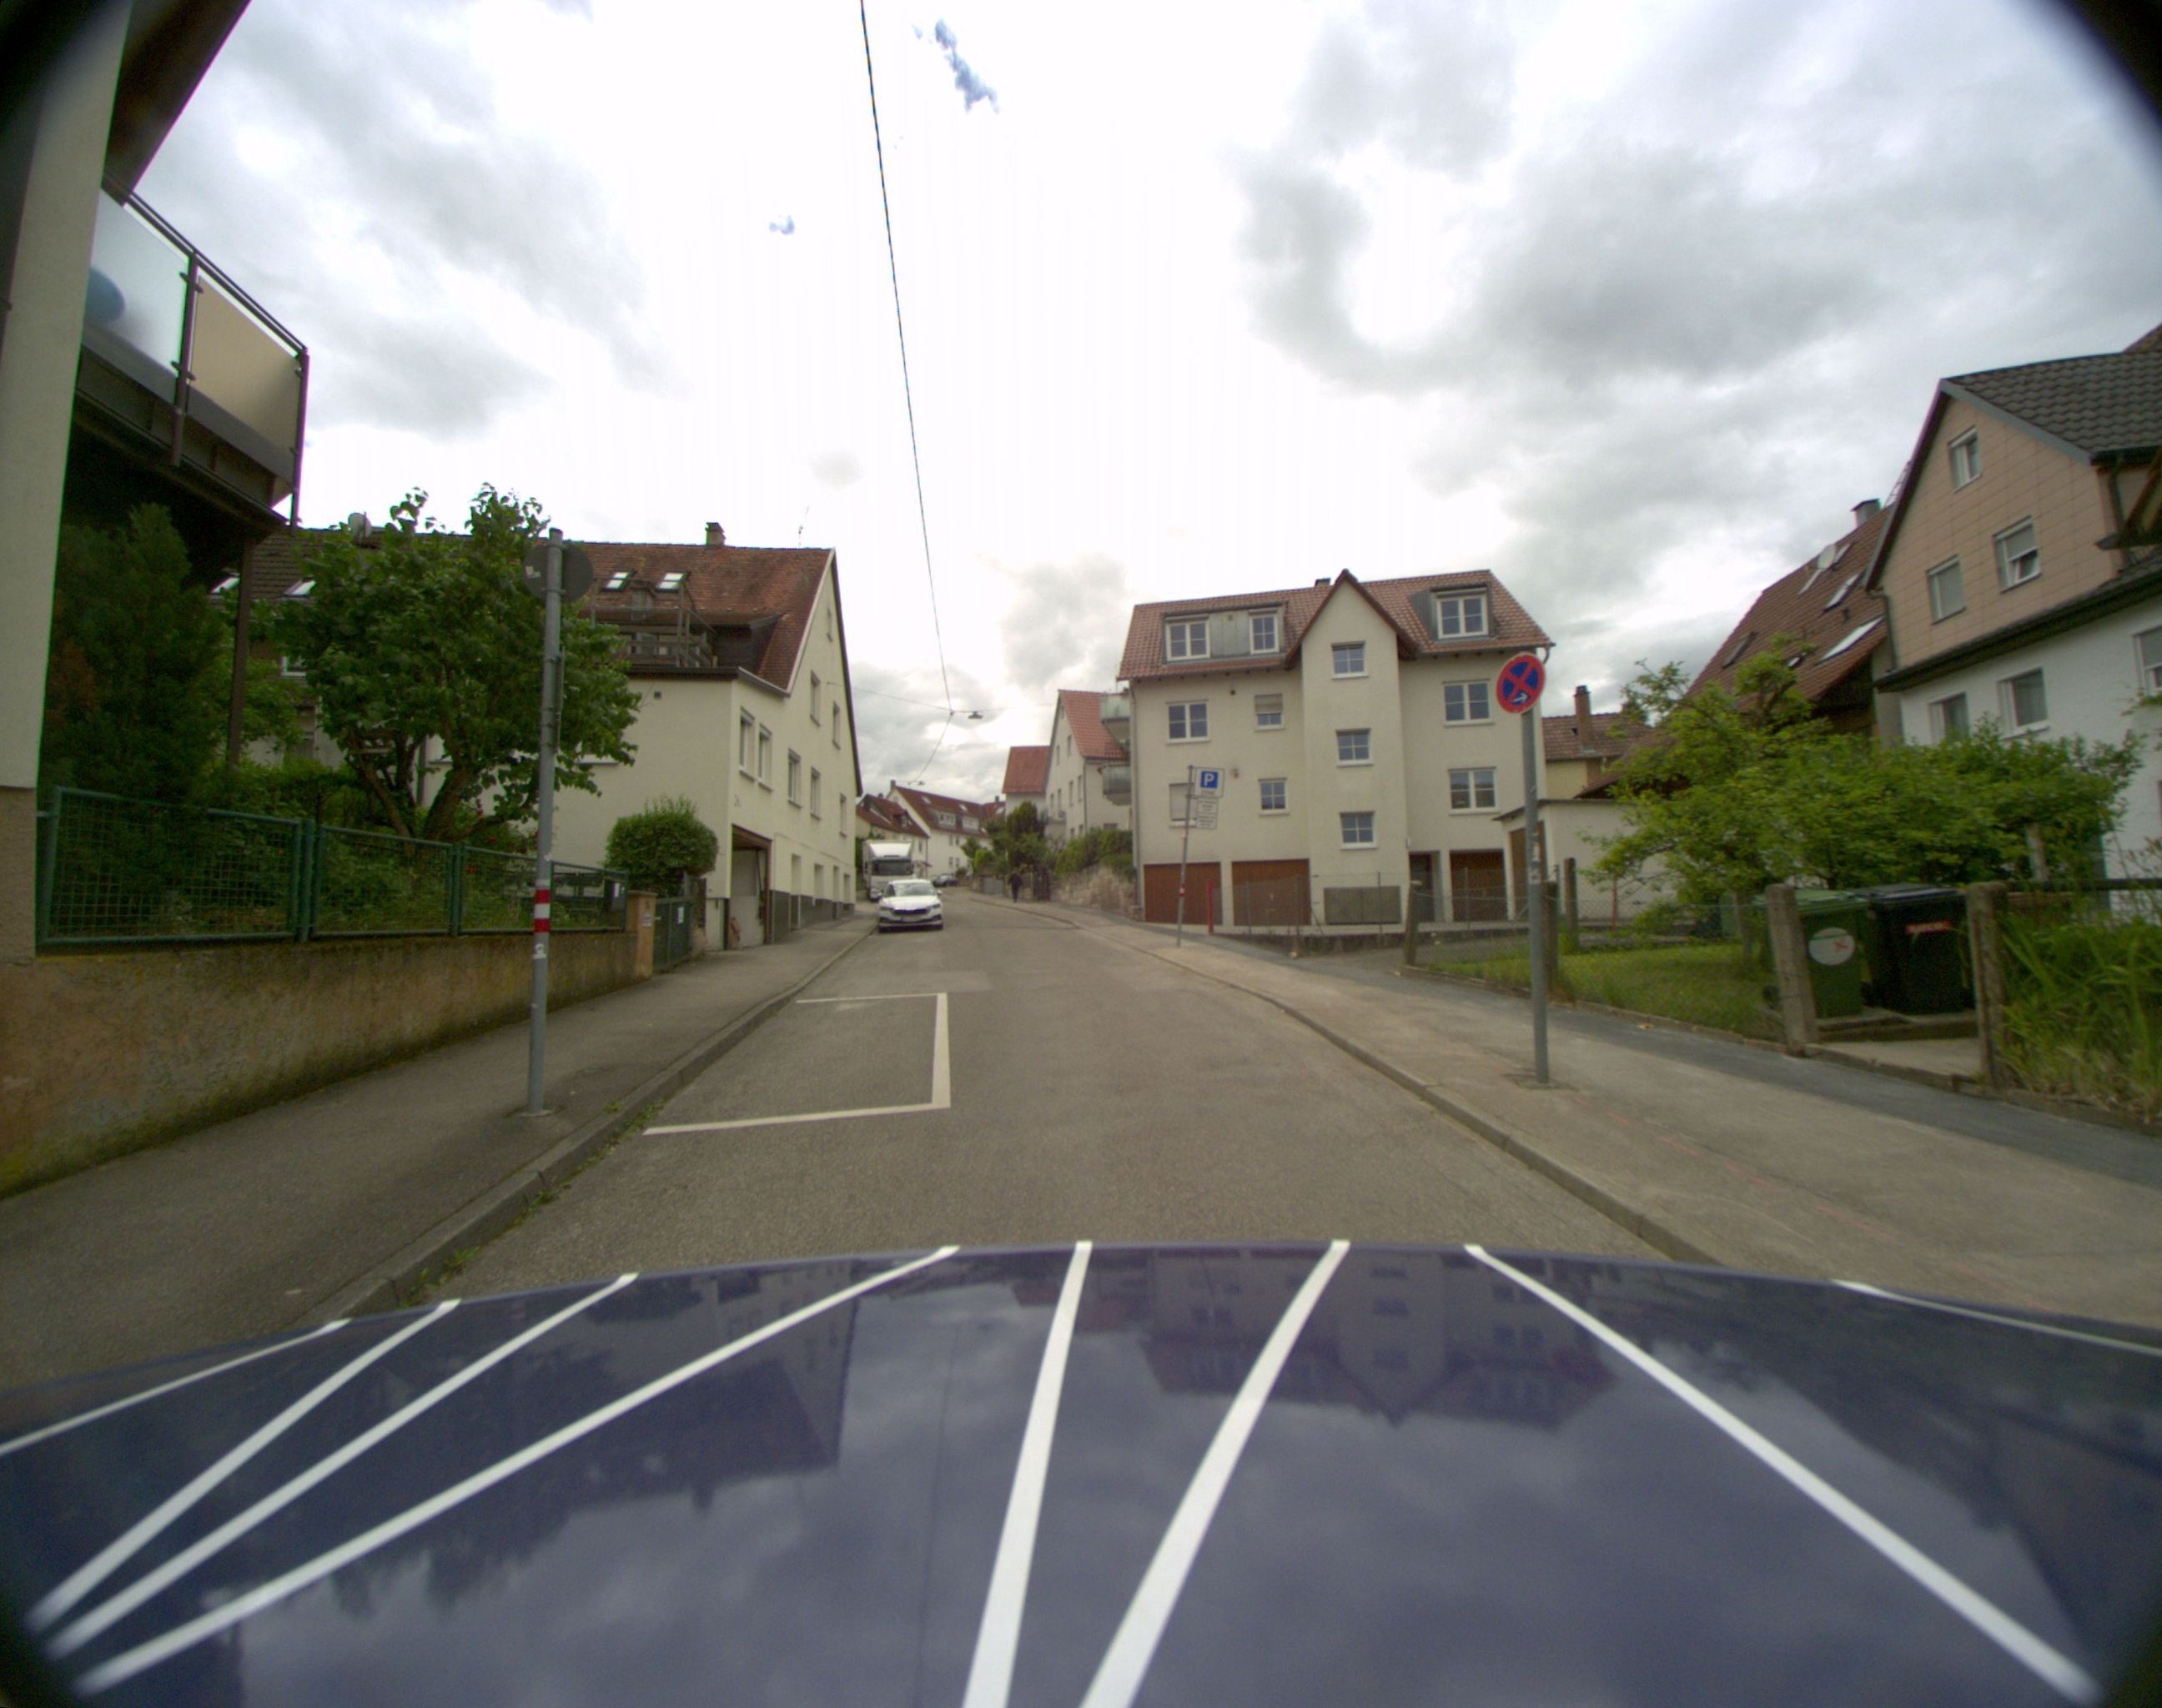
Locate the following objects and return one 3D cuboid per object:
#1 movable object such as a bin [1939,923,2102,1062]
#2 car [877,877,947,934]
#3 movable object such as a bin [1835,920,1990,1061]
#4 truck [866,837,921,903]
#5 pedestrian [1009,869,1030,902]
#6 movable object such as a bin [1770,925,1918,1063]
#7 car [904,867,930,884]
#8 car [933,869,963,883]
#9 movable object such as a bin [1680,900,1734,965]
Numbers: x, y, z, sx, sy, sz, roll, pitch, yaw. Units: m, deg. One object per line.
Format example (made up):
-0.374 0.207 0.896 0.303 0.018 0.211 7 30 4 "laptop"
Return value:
6.482 0.947 5.267 0.495 0.872 0.453 -5 0 19 "movable object such as a bin"
-5.008 1.430 22.585 1.801 1.437 4.294 -2 -1 -13 "car"
5.979 0.972 5.493 0.527 0.912 0.491 -5 0 19 "movable object such as a bin"
-11.347 1.007 45.432 2.687 3.575 8.095 0 -2 -18 "truck"
-3.189 1.608 39.271 0.843 1.667 0.975 -3 0 -17 "pedestrian"
5.401 0.983 5.410 0.527 0.878 0.491 -5 -1 19 "movable object such as a bin"
-16.206 2.170 75.361 1.615 1.523 2.899 -5 -2 5 "car"
-14.497 2.451 83.015 1.721 1.398 4.009 -4 -3 14 "car"
8.962 1.116 10.889 0.377 0.888 0.490 0 -1 6 "movable object such as a bin"
